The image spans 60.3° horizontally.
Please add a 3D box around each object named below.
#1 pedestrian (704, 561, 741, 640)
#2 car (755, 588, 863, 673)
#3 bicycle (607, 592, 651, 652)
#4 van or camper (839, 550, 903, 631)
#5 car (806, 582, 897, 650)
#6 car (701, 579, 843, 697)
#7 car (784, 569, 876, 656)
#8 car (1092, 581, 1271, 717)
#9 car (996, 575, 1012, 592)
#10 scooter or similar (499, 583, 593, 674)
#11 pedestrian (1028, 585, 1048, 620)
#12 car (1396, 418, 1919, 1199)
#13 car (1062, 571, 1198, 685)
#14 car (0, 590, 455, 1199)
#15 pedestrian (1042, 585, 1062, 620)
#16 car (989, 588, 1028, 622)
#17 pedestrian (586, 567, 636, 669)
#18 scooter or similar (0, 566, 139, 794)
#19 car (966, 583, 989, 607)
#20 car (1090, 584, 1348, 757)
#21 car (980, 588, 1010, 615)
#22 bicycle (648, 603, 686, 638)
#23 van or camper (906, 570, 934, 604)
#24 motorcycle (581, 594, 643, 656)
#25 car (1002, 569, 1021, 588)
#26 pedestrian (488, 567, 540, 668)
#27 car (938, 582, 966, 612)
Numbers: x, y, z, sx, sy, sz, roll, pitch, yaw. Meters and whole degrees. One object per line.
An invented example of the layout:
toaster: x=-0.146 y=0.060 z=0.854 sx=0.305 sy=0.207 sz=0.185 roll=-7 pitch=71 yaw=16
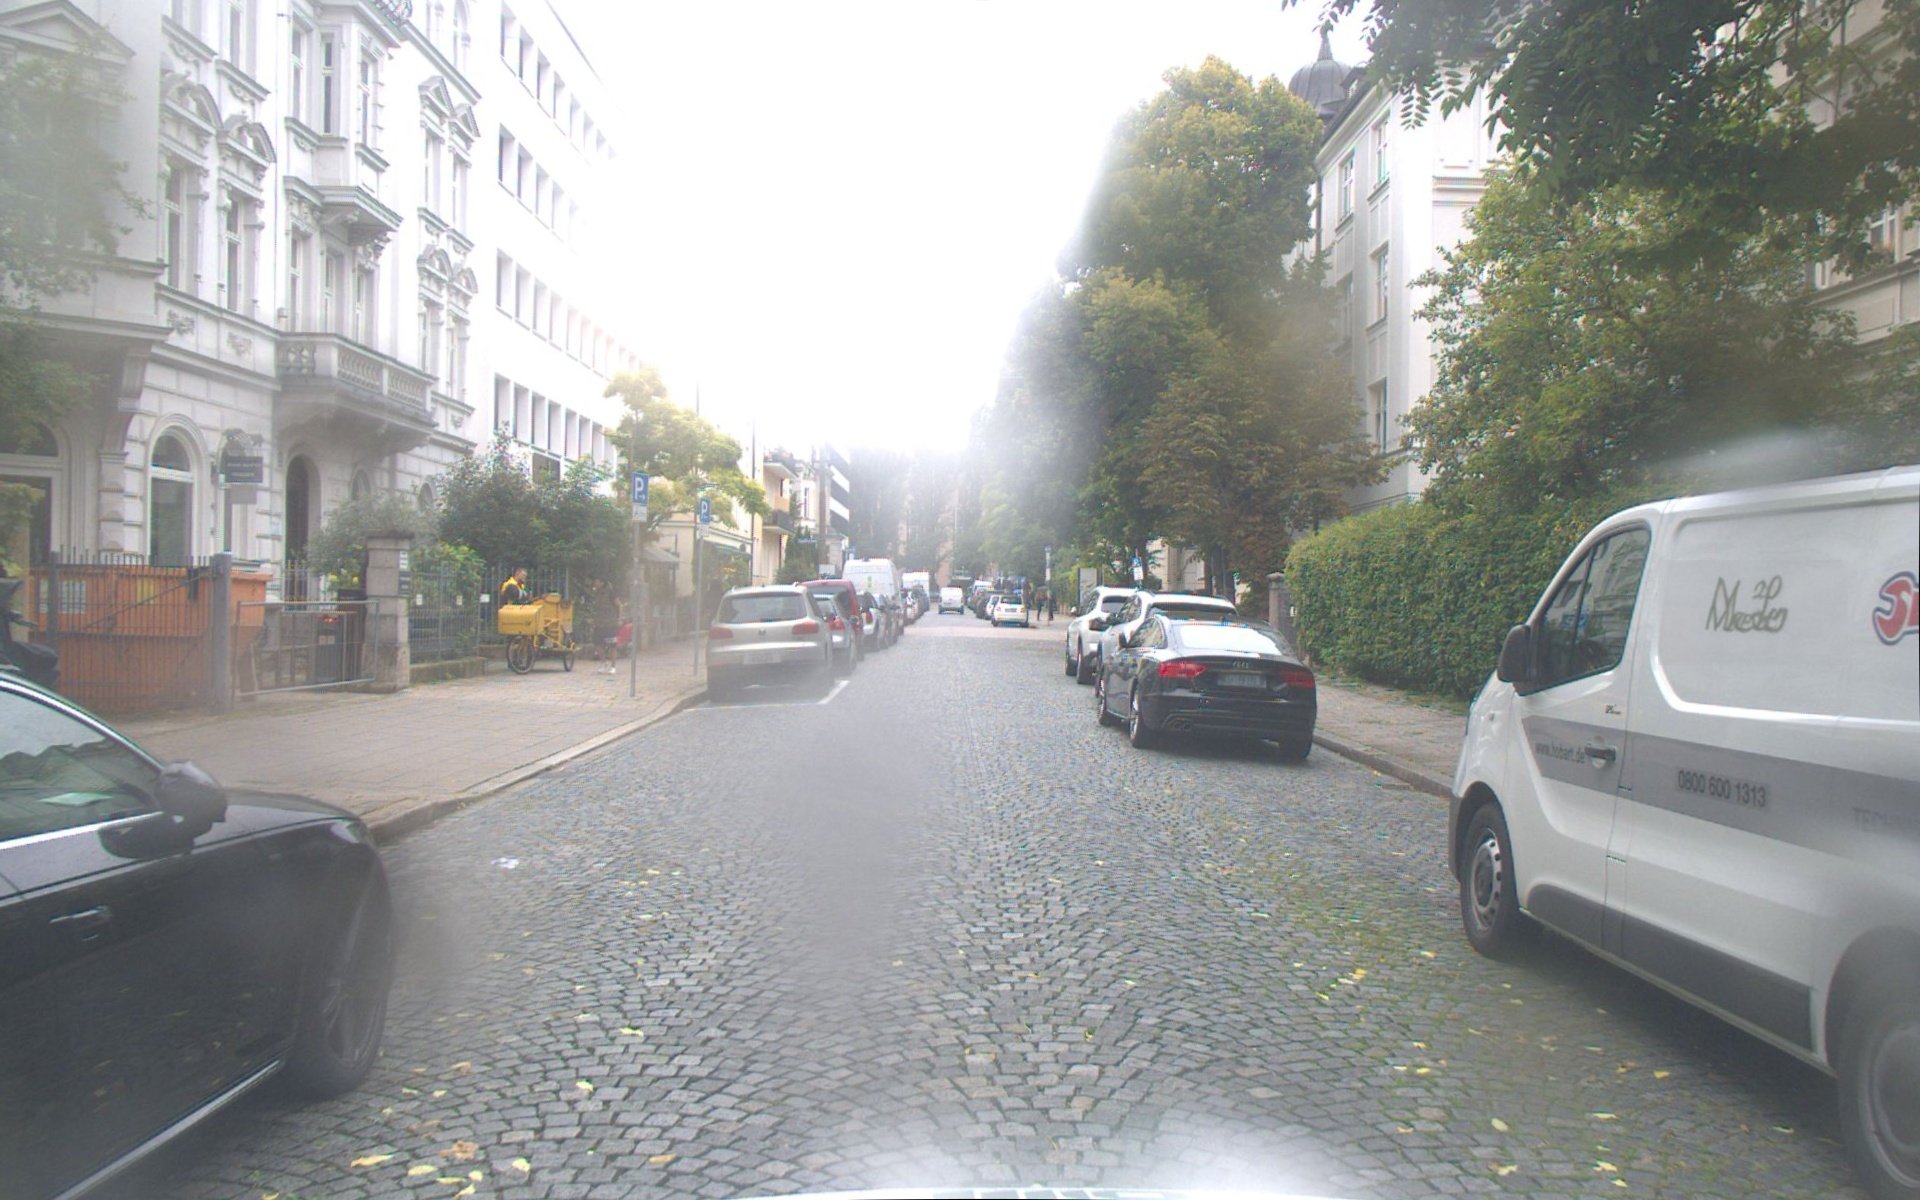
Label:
pedestrian: x=-6.012 y=0.001 z=41.866 sx=0.776 sy=1.951 sz=0.758 roll=2 pitch=0 yaw=-1
car: x=-2.828 y=0.531 z=31.752 sx=1.835 sy=1.476 sz=4.206 roll=-1 pitch=0 yaw=-3
bicycle: x=-7.168 y=0.470 z=35.757 sx=0.645 sy=1.242 sz=2.078 roll=1 pitch=0 yaw=-19
van or camper: x=-3.101 y=-0.336 z=58.335 sx=1.953 sy=2.698 sz=4.000 roll=-2 pitch=0 yaw=0
car: x=-2.783 y=0.400 z=43.389 sx=1.834 sy=1.607 sz=4.209 roll=3 pitch=0 yaw=3
car: x=-2.830 y=0.523 z=25.699 sx=1.836 sy=1.607 sz=4.253 roll=-2 pitch=1 yaw=-3
car: x=-2.946 y=0.261 z=38.289 sx=1.835 sy=1.807 sz=4.121 roll=-3 pitch=0 yaw=-2
car: x=2.987 y=0.609 z=23.172 sx=1.781 sy=1.607 sz=4.207 roll=4 pitch=0 yaw=-1
car: x=5.500 y=-2.043 z=206.916 sx=1.953 sy=2.049 sz=4.000 roll=1 pitch=0 yaw=0
scooter or similar: x=-7.001 y=0.445 z=28.123 sx=0.922 sy=1.467 sz=2.656 roll=1 pitch=0 yaw=-1
pedestrian: x=4.549 y=0.142 z=96.467 sx=0.842 sy=2.049 sz=0.986 roll=1 pitch=0 yaw=-18
car: x=3.260 y=0.557 z=5.749 sx=1.836 sy=1.962 sz=5.162 roll=3 pitch=0 yaw=-3
car: x=2.960 y=0.451 z=29.697 sx=1.835 sy=1.763 sz=4.592 roll=3 pitch=0 yaw=-1
car: x=-2.664 y=0.754 z=3.344 sx=1.848 sy=1.442 sz=4.407 roll=-3 pitch=1 yaw=0
pedestrian: x=5.380 y=0.158 z=96.915 sx=0.842 sy=2.049 sz=0.986 roll=1 pitch=0 yaw=-18
car: x=2.320 y=0.232 z=79.454 sx=1.753 sy=1.547 sz=4.000 roll=1 pitch=0 yaw=0
pedestrian: x=-5.951 y=0.298 z=28.211 sx=0.679 sy=1.717 sz=0.719 roll=1 pitch=0 yaw=-1
scooter or similar: x=-6.692 y=0.506 z=11.232 sx=0.922 sy=1.467 sz=2.656 roll=2 pitch=0 yaw=-2
car: x=1.501 y=-0.449 z=143.343 sx=1.953 sy=2.049 sz=4.000 roll=1 pitch=0 yaw=0
car: x=2.624 y=0.647 z=17.859 sx=1.836 sy=1.529 sz=4.509 roll=3 pitch=0 yaw=-3
car: x=2.114 y=0.077 z=100.142 sx=1.753 sy=1.547 sz=4.000 roll=1 pitch=0 yaw=0
bicycle: x=-7.501 y=0.504 z=42.373 sx=0.492 sy=0.854 sz=2.090 roll=1 pitch=0 yaw=3
van or camper: x=-3.426 y=-1.130 z=142.929 sx=2.210 sy=2.790 sz=5.097 roll=1 pitch=0 yaw=0
motorcycle: x=-7.046 y=0.495 z=33.593 sx=0.609 sy=1.217 sz=1.866 roll=1 pitch=0 yaw=8
car: x=5.704 y=-2.341 z=182.370 sx=1.953 sy=2.049 sz=4.000 roll=1 pitch=0 yaw=0
pedestrian: x=-7.724 y=0.293 z=28.651 sx=0.703 sy=1.717 sz=0.695 roll=1 pitch=0 yaw=-1
car: x=-0.569 y=-0.214 z=117.014 sx=1.953 sy=2.049 sz=4.000 roll=1 pitch=0 yaw=0
